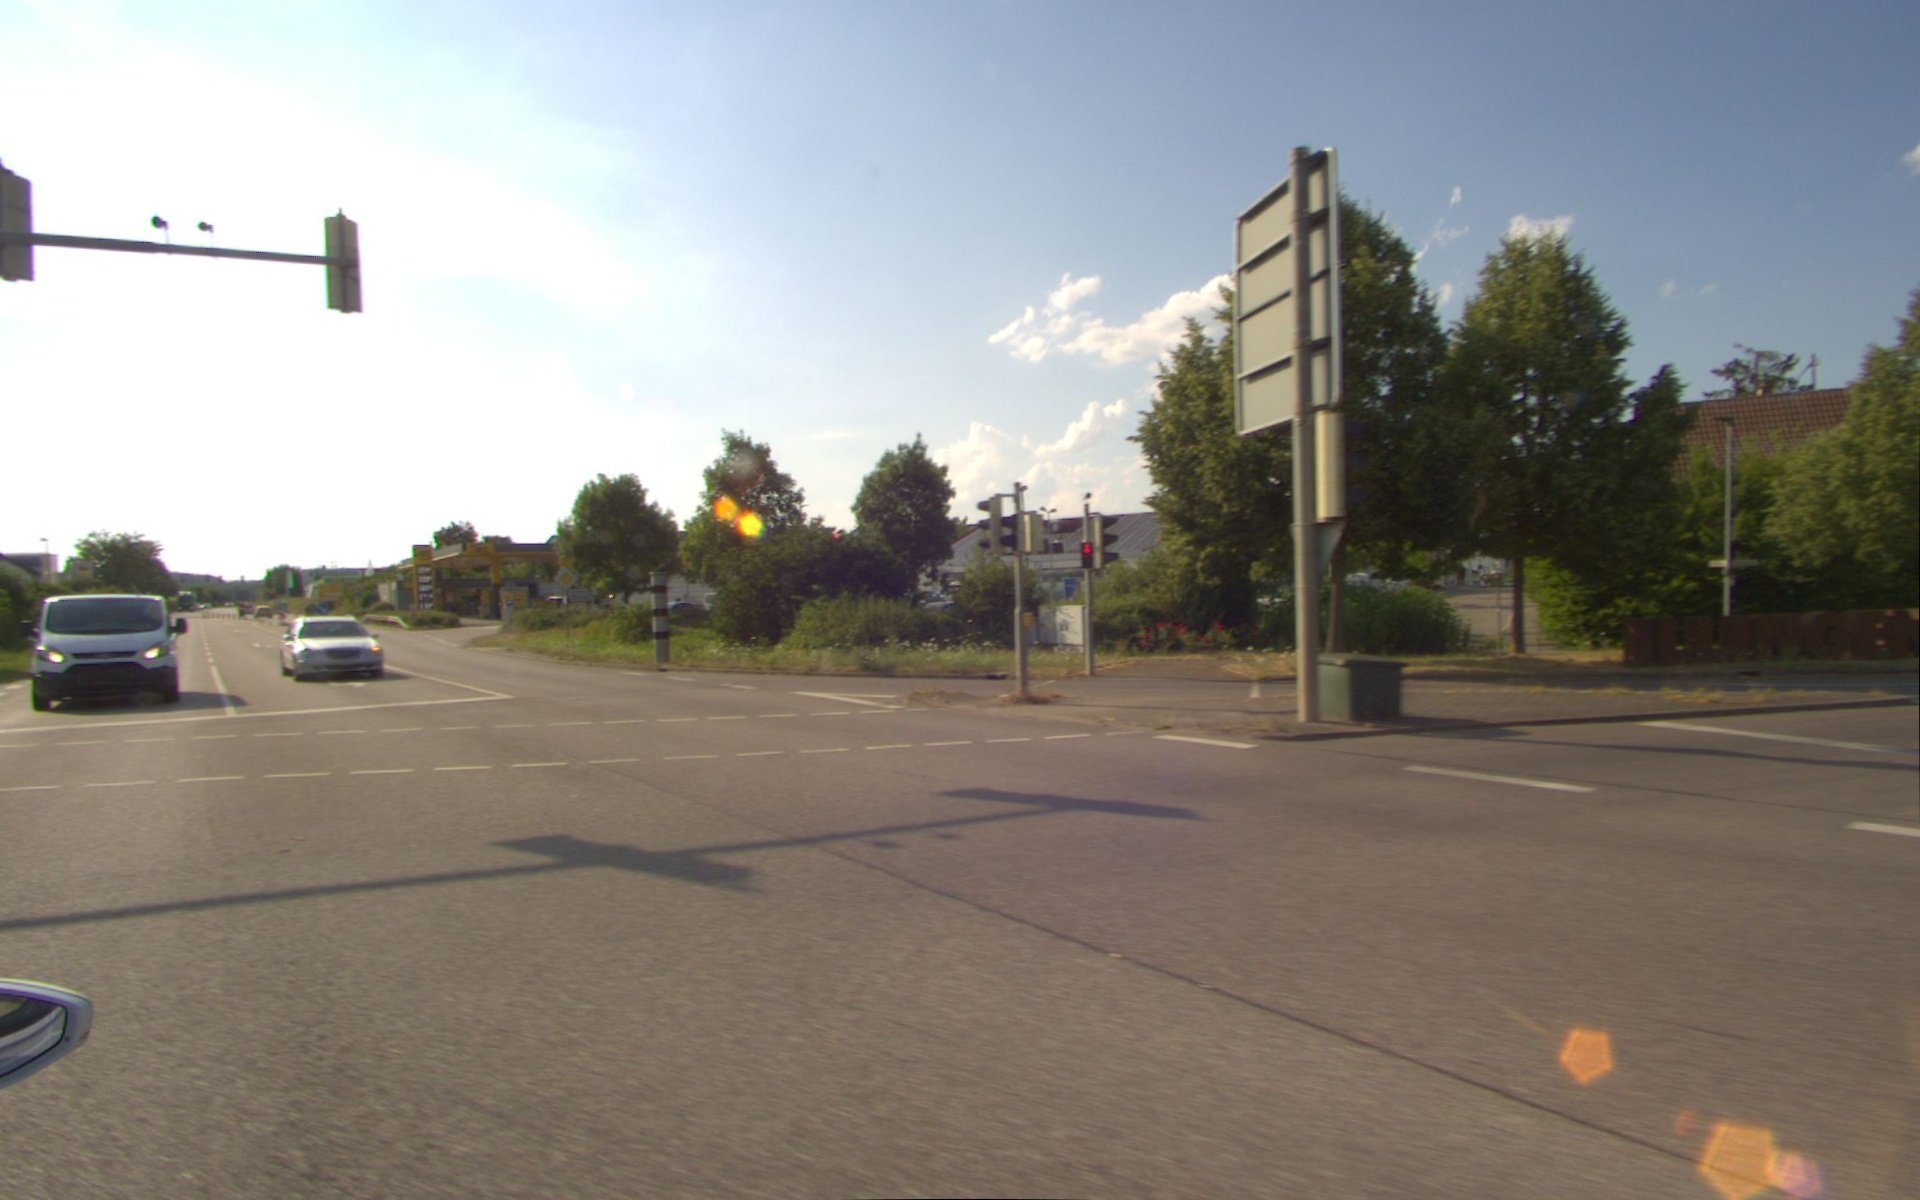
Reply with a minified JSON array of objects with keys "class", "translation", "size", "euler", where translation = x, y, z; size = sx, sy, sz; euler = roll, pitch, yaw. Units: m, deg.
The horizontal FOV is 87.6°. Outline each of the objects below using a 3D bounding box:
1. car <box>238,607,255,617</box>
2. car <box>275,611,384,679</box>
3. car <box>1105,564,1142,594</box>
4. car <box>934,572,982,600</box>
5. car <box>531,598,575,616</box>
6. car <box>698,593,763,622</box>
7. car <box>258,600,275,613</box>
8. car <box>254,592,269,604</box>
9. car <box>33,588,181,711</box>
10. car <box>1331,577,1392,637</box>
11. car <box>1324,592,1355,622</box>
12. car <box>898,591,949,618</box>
[{"class":"car","translation":[-106.531,1.823,149.489],"size":[1.728,1.369,3.175],"euler":[1,-2,-42]},{"class":"car","translation":[-15.868,1.094,25.089],"size":[1.841,1.533,4.916],"euler":[0,-2,-38]},{"class":"car","translation":[12.615,-1.572,77.016],"size":[1.925,2.039,3.991],"euler":[-1,-1,22]},{"class":"car","translation":[-0.138,-1.073,78.376],"size":[2.280,2.039,3.989],"euler":[-1,-2,24]},{"class":"car","translation":[-35.474,0.604,87.227],"size":[2.265,1.392,4.818],"euler":[1,-3,-40]},{"class":"car","translation":[-17.477,0.595,76.474],"size":[1.971,2.039,4.910],"euler":[-1,-2,31]},{"class":"car","translation":[-83.049,0.785,119.887],"size":[1.536,1.467,3.028],"euler":[0,-2,-37]},{"class":"car","translation":[-133.003,-0.407,190.610],"size":[1.979,2.039,3.965],"euler":[0,-2,-42]},{"class":"car","translation":[-15.803,0.806,18.575],"size":[1.886,1.973,4.775],"euler":[1,0,-41]},{"class":"car","translation":[18.062,0.364,44.893],"size":[1.970,2.538,5.119],"euler":[-1,-2,28]},{"class":"car","translation":[21.602,0.434,56.934],"size":[1.580,1.601,3.579],"euler":[-1,-2,22]},{"class":"car","translation":[-2.981,0.378,82.119],"size":[1.971,2.039,4.651],"euler":[-1,-2,31]}]
